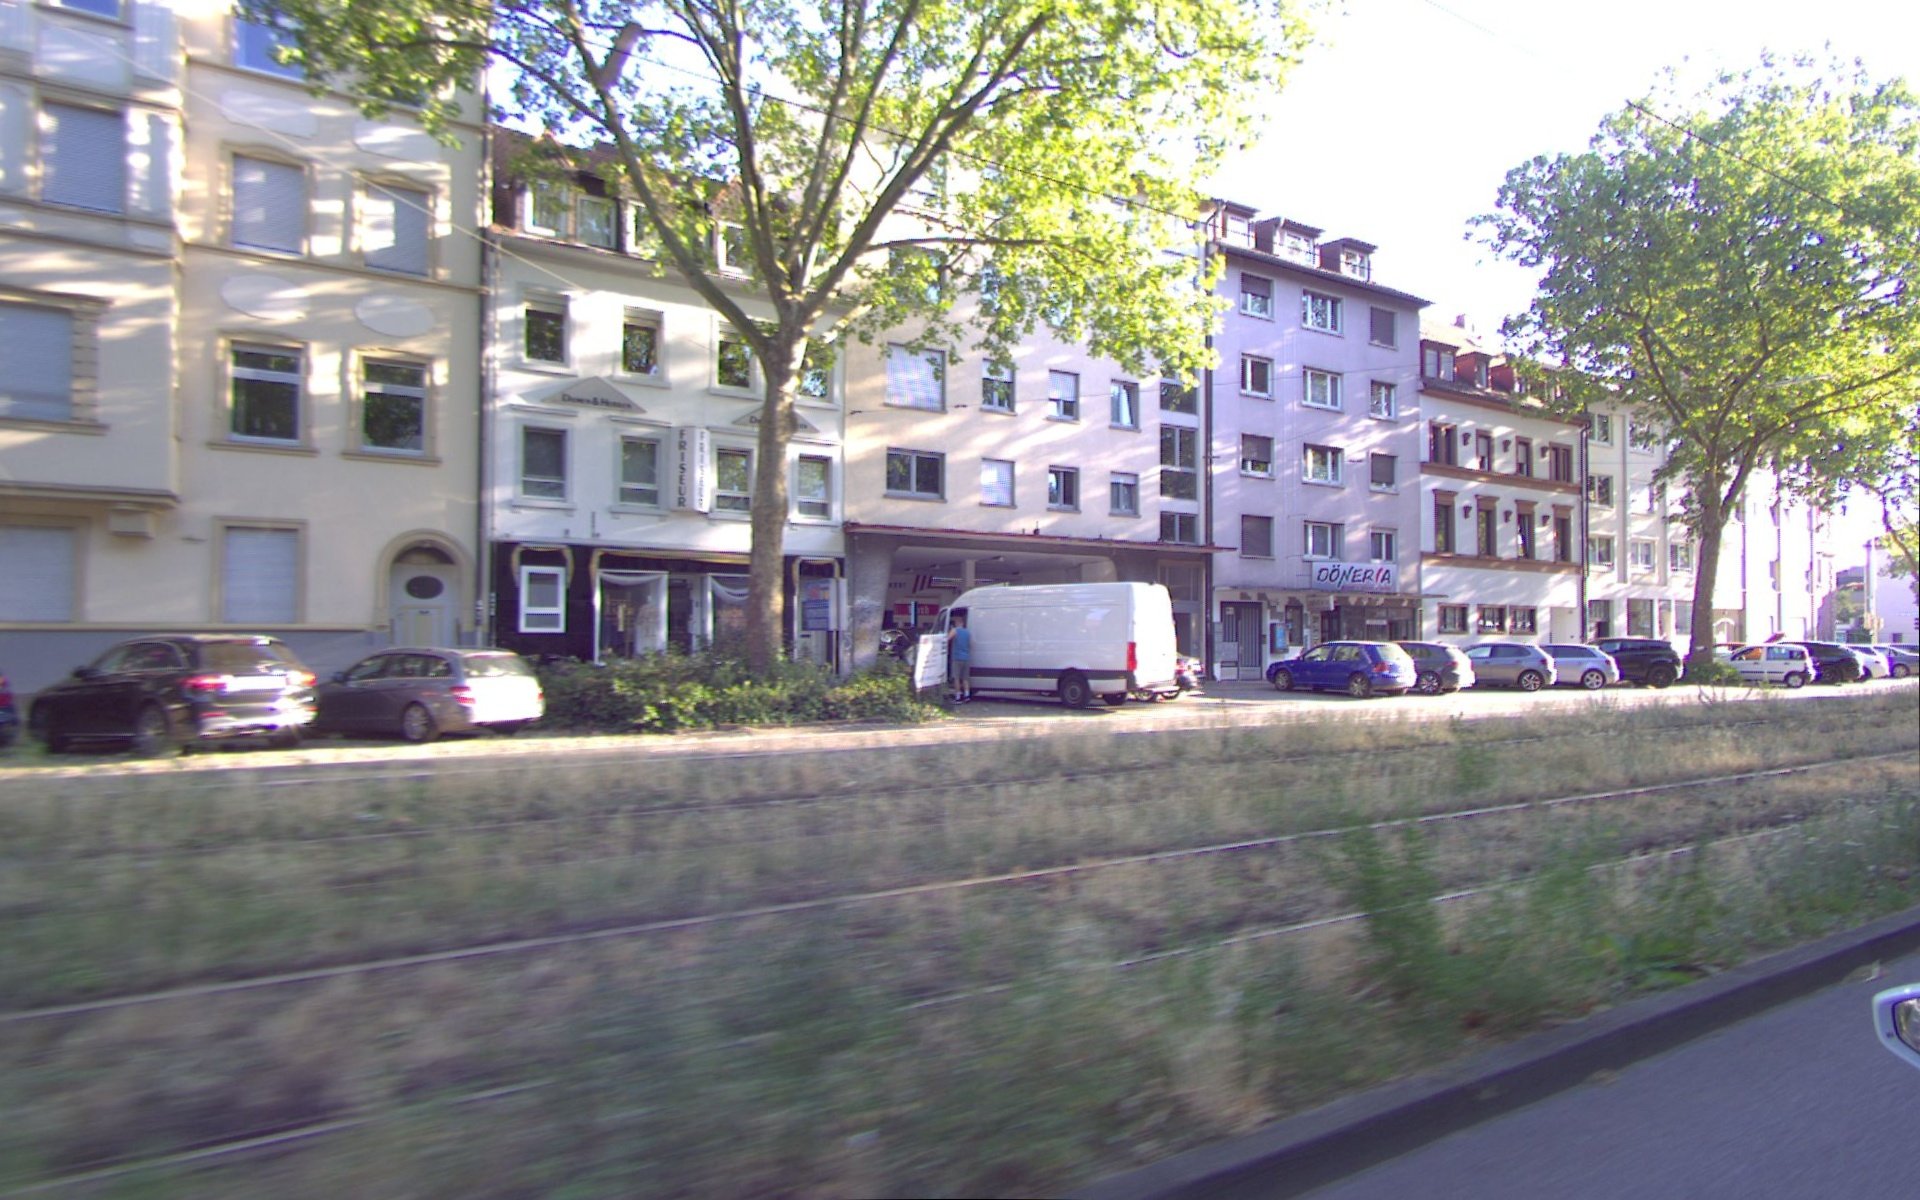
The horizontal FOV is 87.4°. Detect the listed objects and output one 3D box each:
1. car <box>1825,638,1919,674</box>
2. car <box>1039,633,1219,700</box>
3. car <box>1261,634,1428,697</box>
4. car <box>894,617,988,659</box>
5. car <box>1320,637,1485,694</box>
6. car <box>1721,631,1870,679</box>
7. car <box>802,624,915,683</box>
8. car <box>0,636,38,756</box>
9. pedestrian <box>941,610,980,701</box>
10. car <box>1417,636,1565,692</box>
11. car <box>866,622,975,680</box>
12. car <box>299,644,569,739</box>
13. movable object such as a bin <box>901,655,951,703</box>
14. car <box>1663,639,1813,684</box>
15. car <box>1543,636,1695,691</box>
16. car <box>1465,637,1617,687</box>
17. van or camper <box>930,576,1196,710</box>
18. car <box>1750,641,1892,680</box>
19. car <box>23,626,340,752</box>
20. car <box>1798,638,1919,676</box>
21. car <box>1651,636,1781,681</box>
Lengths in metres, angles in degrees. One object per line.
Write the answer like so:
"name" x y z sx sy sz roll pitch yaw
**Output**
"car" 43.135 2.597 46.771 3.920 1.499 1.818 2 0 18
"car" 4.114 1.581 24.719 3.939 1.510 1.991 -2 -2 39
"car" 10.449 1.746 27.565 1.838 1.439 3.964 2 0 -33
"car" -0.803 1.488 39.148 1.977 1.576 3.968 2 -3 -30
"car" 12.788 1.848 29.160 1.937 1.511 3.950 2 -3 -43
"car" 33.120 2.222 40.010 4.292 1.809 1.988 -3 -4 35
"car" -3.194 1.606 31.037 1.977 1.588 3.967 2 0 -31
"car" -14.418 1.296 13.353 3.925 1.553 1.825 -2 -3 25
"pedestrian" 0.021 1.256 22.886 0.609 2.040 0.648 -1 -2 41
"car" 16.364 1.943 31.122 3.926 1.441 1.754 2 0 27
"car" -1.347 1.624 32.573 1.884 1.742 3.968 2 -3 -30
"car" -8.478 1.419 16.217 3.930 1.375 1.801 -2 -2 24
"movable object such as a bin" -0.756 1.753 22.475 0.863 1.036 0.732 2 -3 -42
"car" 28.787 2.241 37.357 4.291 1.468 1.654 0 -2 34
"car" 22.279 2.099 34.137 3.921 1.682 2.000 0 -1 20
"car" 18.753 1.983 32.612 3.920 1.404 1.913 1 0 16
"van or camper" 2.213 0.934 22.943 5.879 2.681 2.168 -1 -2 41
"car" 35.750 2.470 41.844 4.126 1.351 1.721 2 0 25
"car" -11.259 1.254 14.537 4.082 1.613 1.936 -3 -3 24
"car" 40.498 2.556 45.178 3.921 1.460 1.722 2 0 20
"car" 29.549 2.242 39.306 3.940 1.499 1.769 2 0 41
